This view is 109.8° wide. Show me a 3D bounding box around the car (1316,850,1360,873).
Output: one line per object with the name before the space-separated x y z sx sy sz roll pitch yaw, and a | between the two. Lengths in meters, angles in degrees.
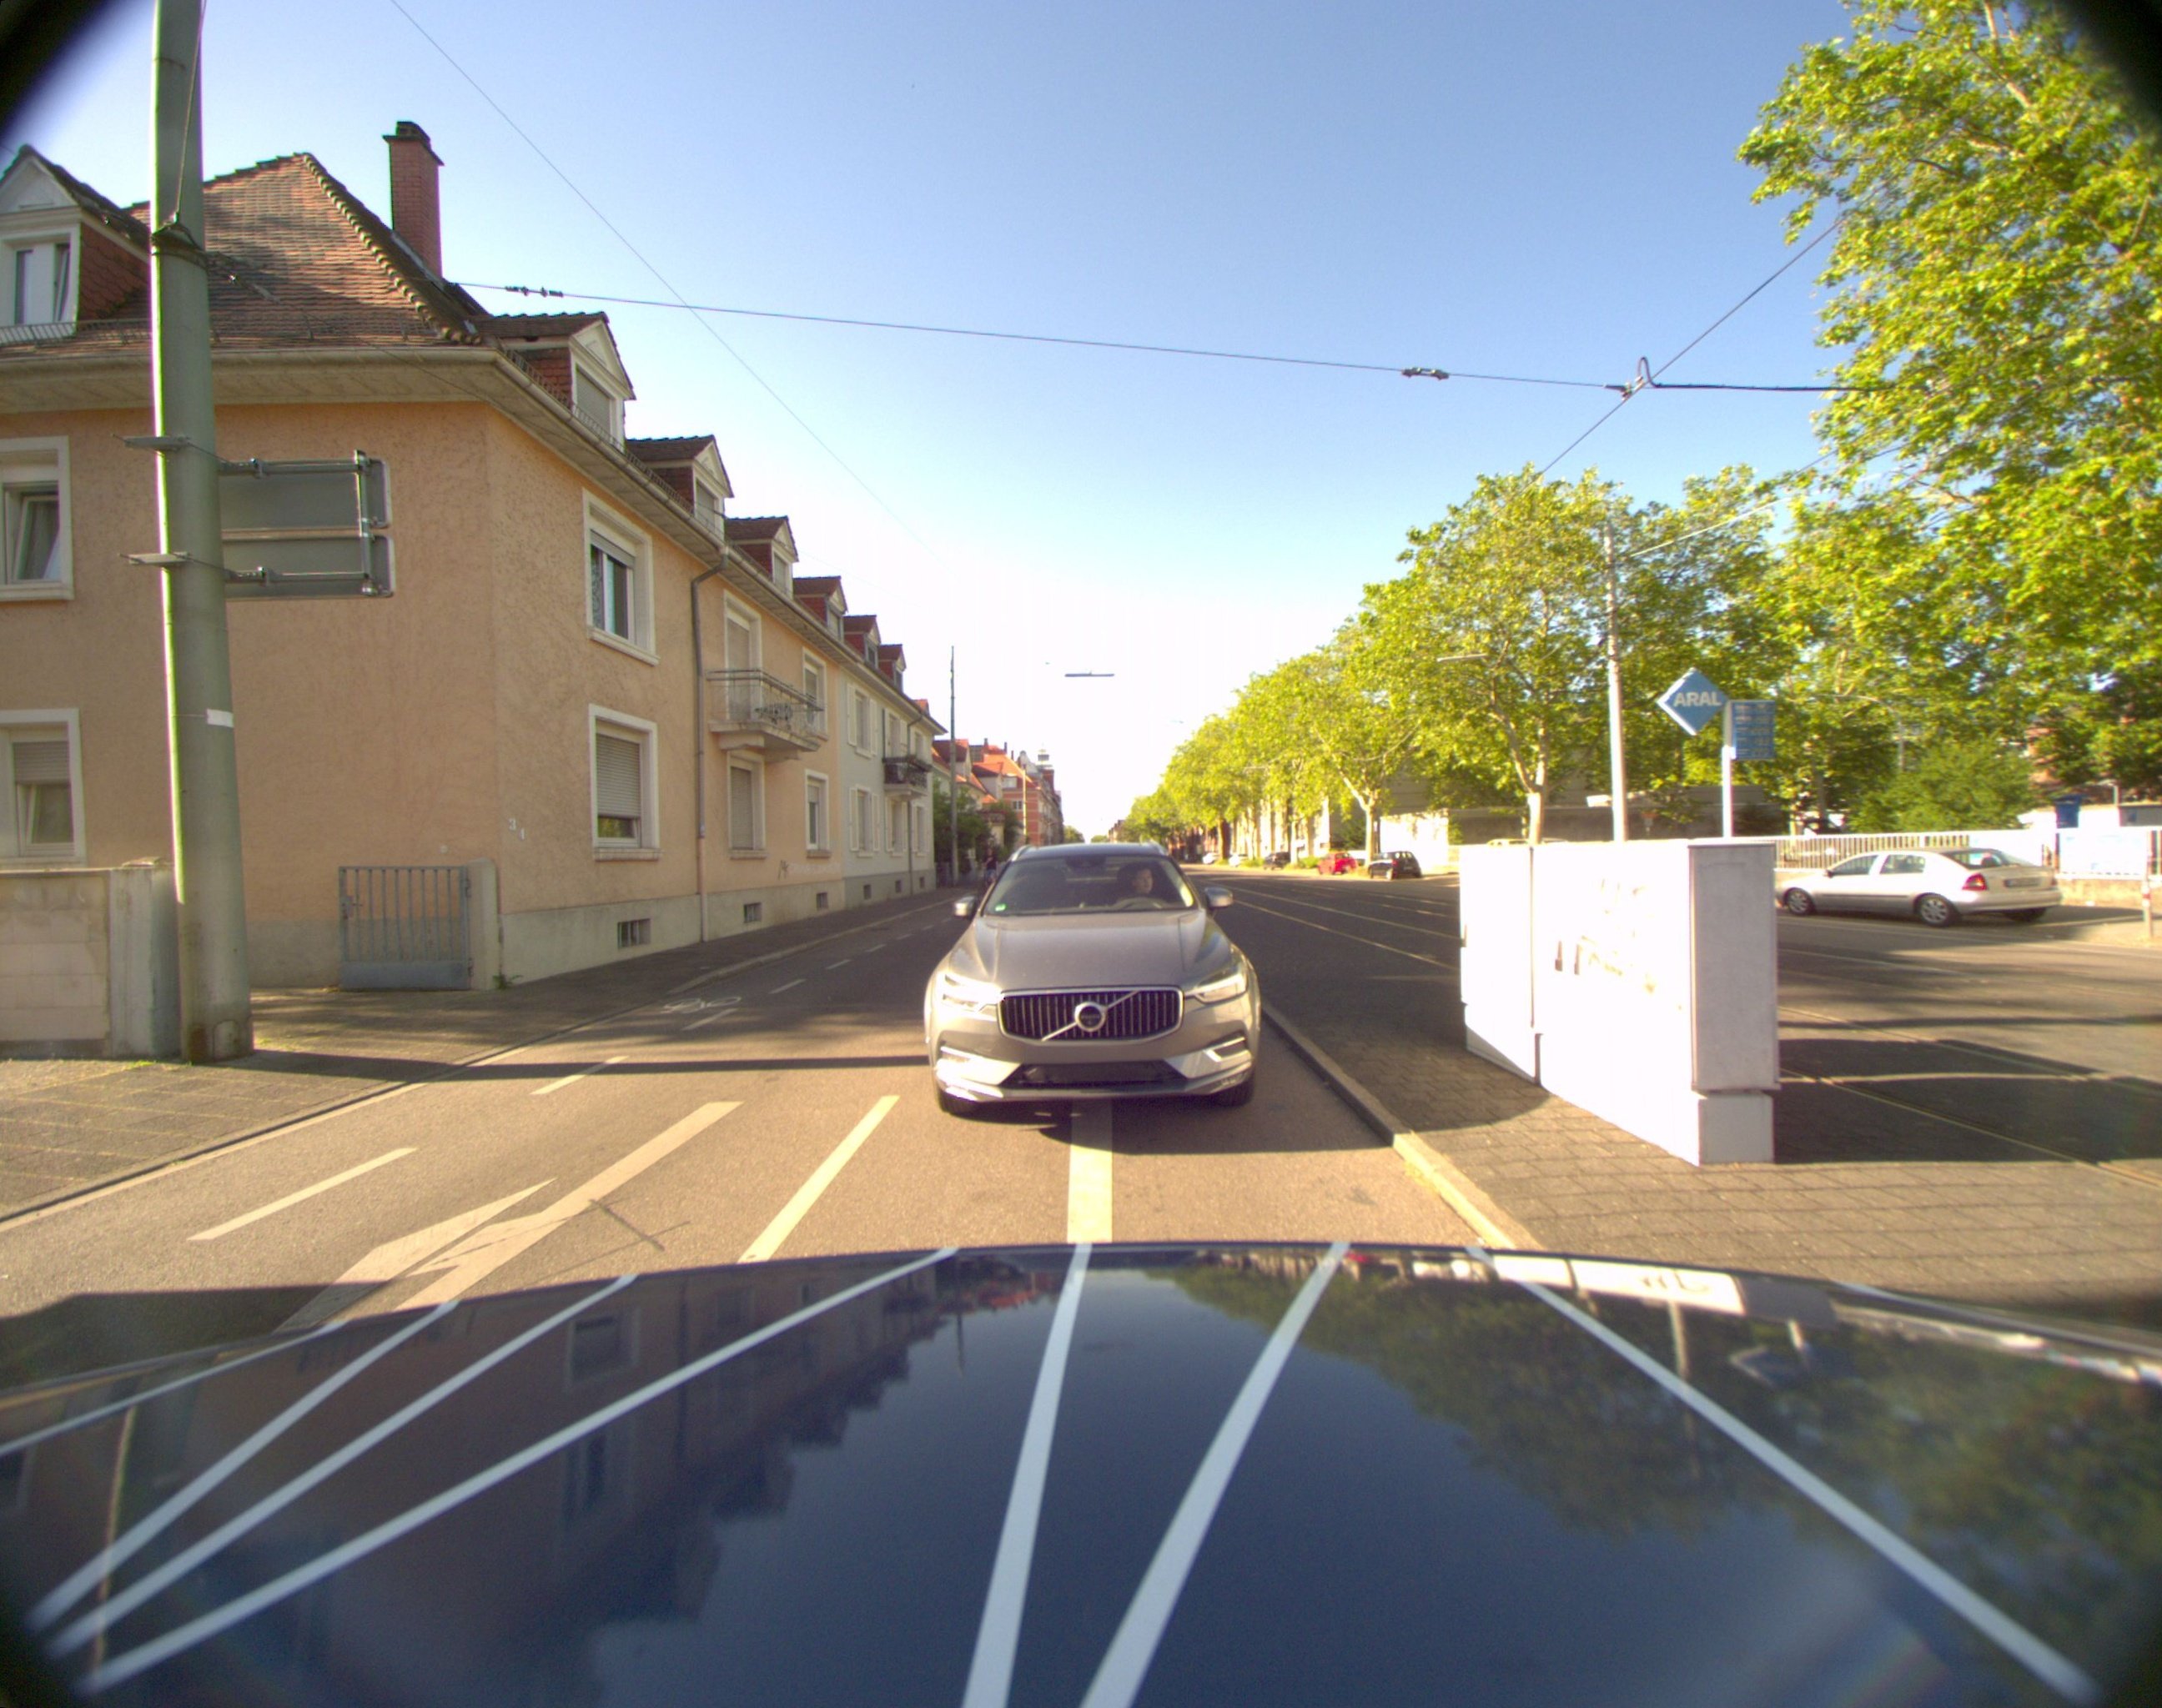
car | 16.898 0.456 50.181 1.717 1.421 3.858 -3 0 3

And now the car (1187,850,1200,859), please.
car | 18.497 0.067 125.291 1.758 1.475 3.858 -3 0 3

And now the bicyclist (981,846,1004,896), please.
bicyclist | -3.088 0.575 26.545 0.561 1.721 1.084 -2 1 1

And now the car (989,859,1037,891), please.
car | -3.241 0.966 37.072 1.867 1.399 4.424 -1 0 1

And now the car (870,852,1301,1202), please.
car | 0.053 0.817 5.927 1.998 1.609 4.697 -1 0 1

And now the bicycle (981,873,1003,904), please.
bicycle | -3.089 1.182 26.497 0.533 1.011 1.758 -1 0 1

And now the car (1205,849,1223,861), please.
car | 17.663 0.172 100.934 1.758 1.475 3.858 -3 0 3

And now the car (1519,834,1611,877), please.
car | 24.155 0.085 38.098 1.999 2.002 3.999 -1 0 -1

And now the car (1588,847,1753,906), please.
car | 16.475 0.573 21.512 1.745 1.389 3.858 -4 0 3

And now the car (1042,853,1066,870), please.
car | -2.360 0.624 66.357 1.867 1.399 4.078 -1 0 1

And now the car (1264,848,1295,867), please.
car | 17.166 0.300 65.913 1.758 1.536 3.858 -3 0 3

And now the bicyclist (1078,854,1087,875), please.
bicyclist | 0.116 0.827 59.020 0.562 1.607 1.016 -2 1 0

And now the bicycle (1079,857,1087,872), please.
bicycle | 0.117 0.795 58.880 0.550 1.056 1.794 -1 1 -1

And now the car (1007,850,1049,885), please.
car | -2.919 0.704 42.826 1.867 1.778 5.297 -1 0 1

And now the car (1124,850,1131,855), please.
car | 14.377 -0.477 236.397 1.998 1.685 4.000 -1 0 1

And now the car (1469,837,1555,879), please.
car | 21.806 0.174 38.638 1.999 2.002 3.999 -1 0 -1

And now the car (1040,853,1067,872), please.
car | -2.139 0.671 60.053 1.867 1.399 4.078 -1 0 1

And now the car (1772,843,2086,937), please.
car | 16.235 0.611 14.904 1.847 1.477 3.858 -4 0 2

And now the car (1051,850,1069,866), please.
car | -2.333 0.436 85.446 1.867 1.653 4.078 -1 0 1

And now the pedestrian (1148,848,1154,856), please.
pedestrian | 19.575 -0.530 212.946 1.686 2.002 1.761 -1 1 1

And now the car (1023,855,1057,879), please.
car | -2.584 0.817 48.494 1.867 1.399 4.078 -1 0 1

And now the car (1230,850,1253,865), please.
car | 17.571 0.363 83.340 1.758 1.475 3.858 -3 0 3

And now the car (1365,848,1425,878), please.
car | 16.887 0.463 41.039 1.758 1.449 3.858 -3 0 3

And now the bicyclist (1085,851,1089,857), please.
bicyclist | 1.422 -0.020 186.196 1.054 1.496 1.250 -1 1 1

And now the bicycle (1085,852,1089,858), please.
bicycle | 1.429 0.244 186.257 1.054 1.262 3.914 -1 0 1
